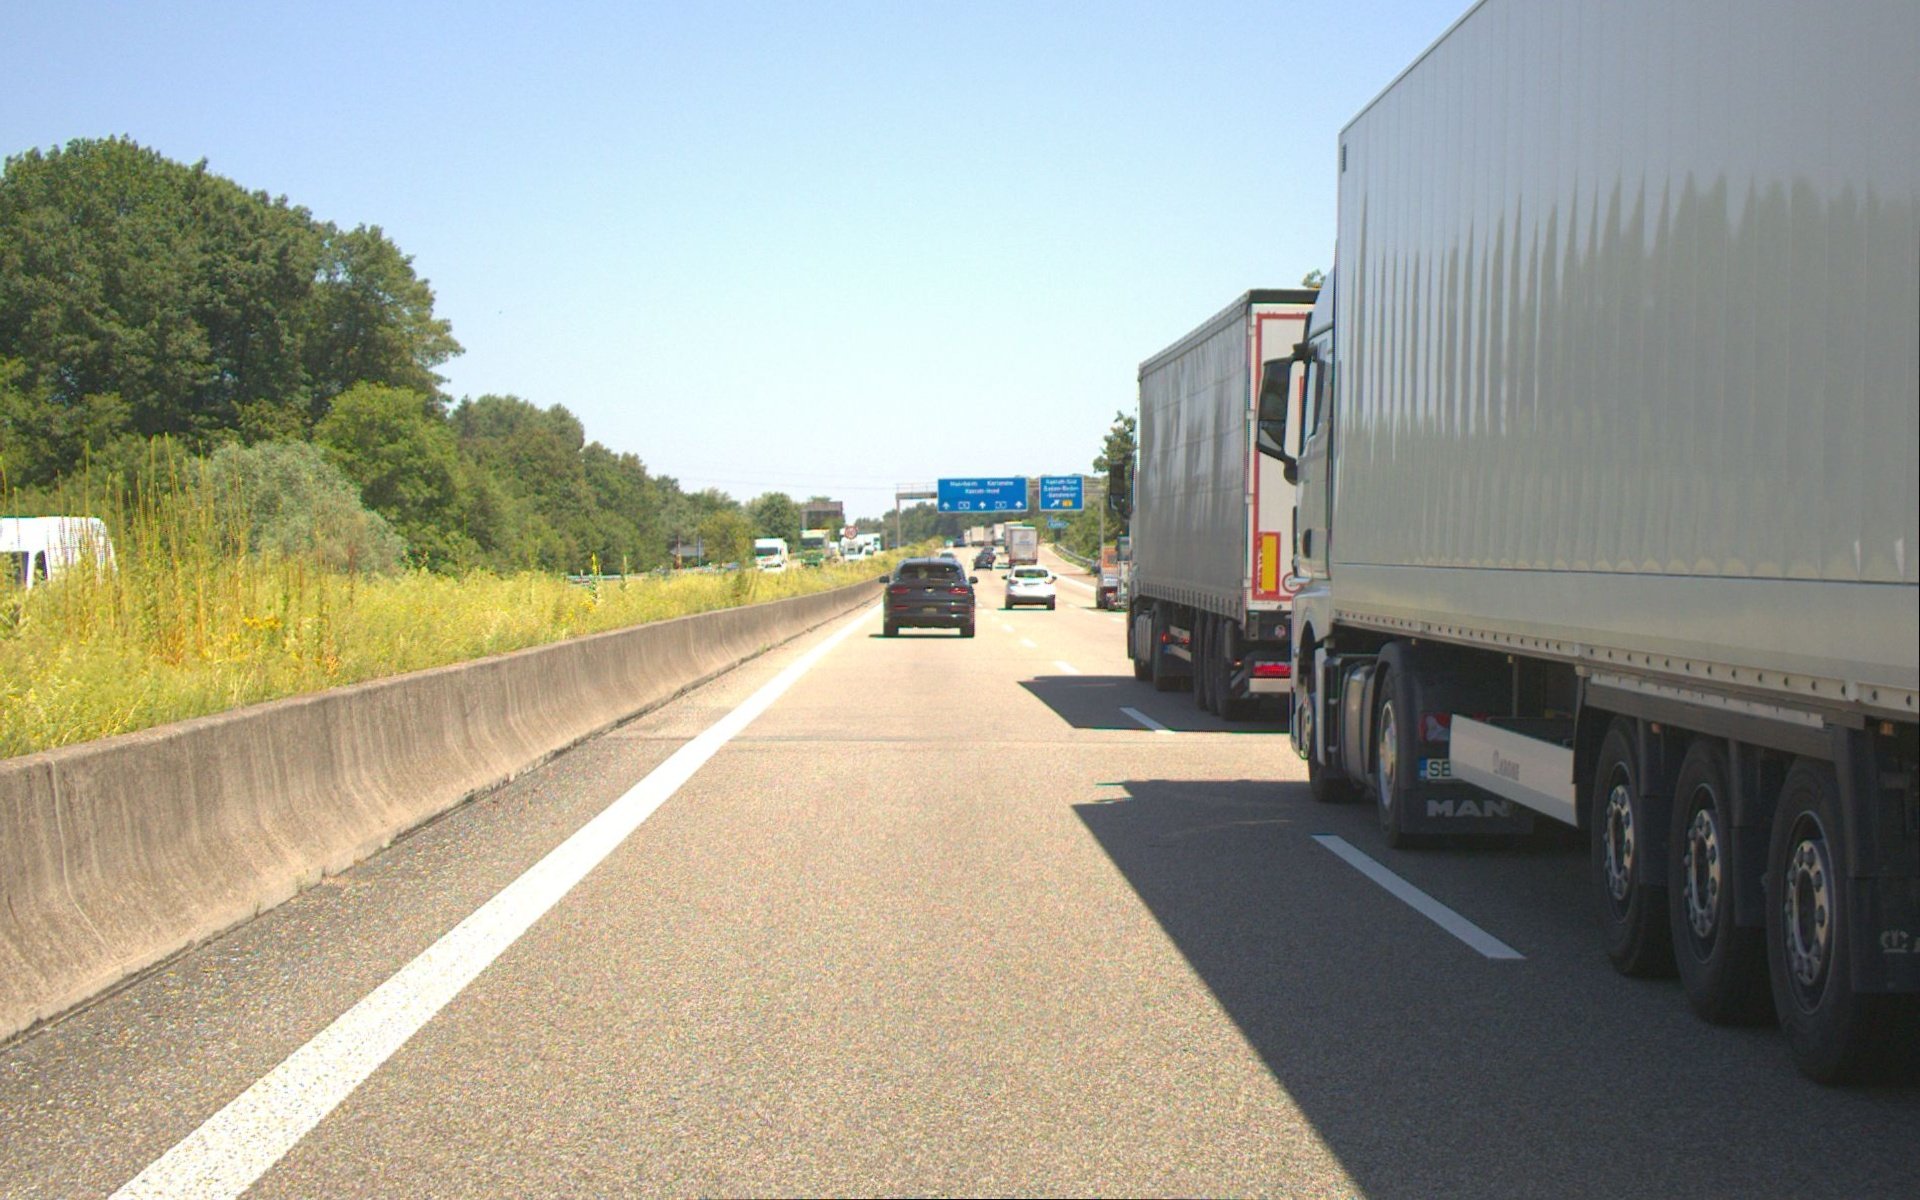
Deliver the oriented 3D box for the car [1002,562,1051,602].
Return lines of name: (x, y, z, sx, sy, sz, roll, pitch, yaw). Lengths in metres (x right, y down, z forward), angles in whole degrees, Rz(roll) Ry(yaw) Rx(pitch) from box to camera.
car: (2.496, -0.681, 129.240, 1.740, 1.481, 4.000, 0, 1, 0)

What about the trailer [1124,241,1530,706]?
trailer: (3.576, -1.136, 37.579, 2.707, 4.054, 14.746, 1, 0, 0)

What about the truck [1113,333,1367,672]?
truck: (3.537, -1.190, 44.893, 2.700, 4.080, 6.453, 1, 0, 0)

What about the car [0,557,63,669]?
car: (-18.320, 0.211, 64.155, 1.882, 2.007, 5.075, 0, 1, -1)

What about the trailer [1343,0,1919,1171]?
trailer: (3.679, -0.660, 13.029, 2.794, 4.021, 12.568, 0, 1, -1)

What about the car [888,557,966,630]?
car: (-0.740, -0.165, 75.749, 1.660, 1.544, 3.783, 0, 1, -1)

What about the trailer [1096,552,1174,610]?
trailer: (6.403, -0.724, 126.579, 2.420, 2.007, 6.034, 0, 1, -1)

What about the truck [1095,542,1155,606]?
truck: (6.304, -1.015, 131.939, 1.993, 2.365, 4.645, 0, 1, -1)

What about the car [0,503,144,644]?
car: (-14.259, -0.454, 52.608, 1.993, 2.007, 6.557, 2, 1, -1)

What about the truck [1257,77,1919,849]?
truck: (3.539, -0.747, 20.918, 2.799, 3.993, 6.021, 0, 1, -1)
